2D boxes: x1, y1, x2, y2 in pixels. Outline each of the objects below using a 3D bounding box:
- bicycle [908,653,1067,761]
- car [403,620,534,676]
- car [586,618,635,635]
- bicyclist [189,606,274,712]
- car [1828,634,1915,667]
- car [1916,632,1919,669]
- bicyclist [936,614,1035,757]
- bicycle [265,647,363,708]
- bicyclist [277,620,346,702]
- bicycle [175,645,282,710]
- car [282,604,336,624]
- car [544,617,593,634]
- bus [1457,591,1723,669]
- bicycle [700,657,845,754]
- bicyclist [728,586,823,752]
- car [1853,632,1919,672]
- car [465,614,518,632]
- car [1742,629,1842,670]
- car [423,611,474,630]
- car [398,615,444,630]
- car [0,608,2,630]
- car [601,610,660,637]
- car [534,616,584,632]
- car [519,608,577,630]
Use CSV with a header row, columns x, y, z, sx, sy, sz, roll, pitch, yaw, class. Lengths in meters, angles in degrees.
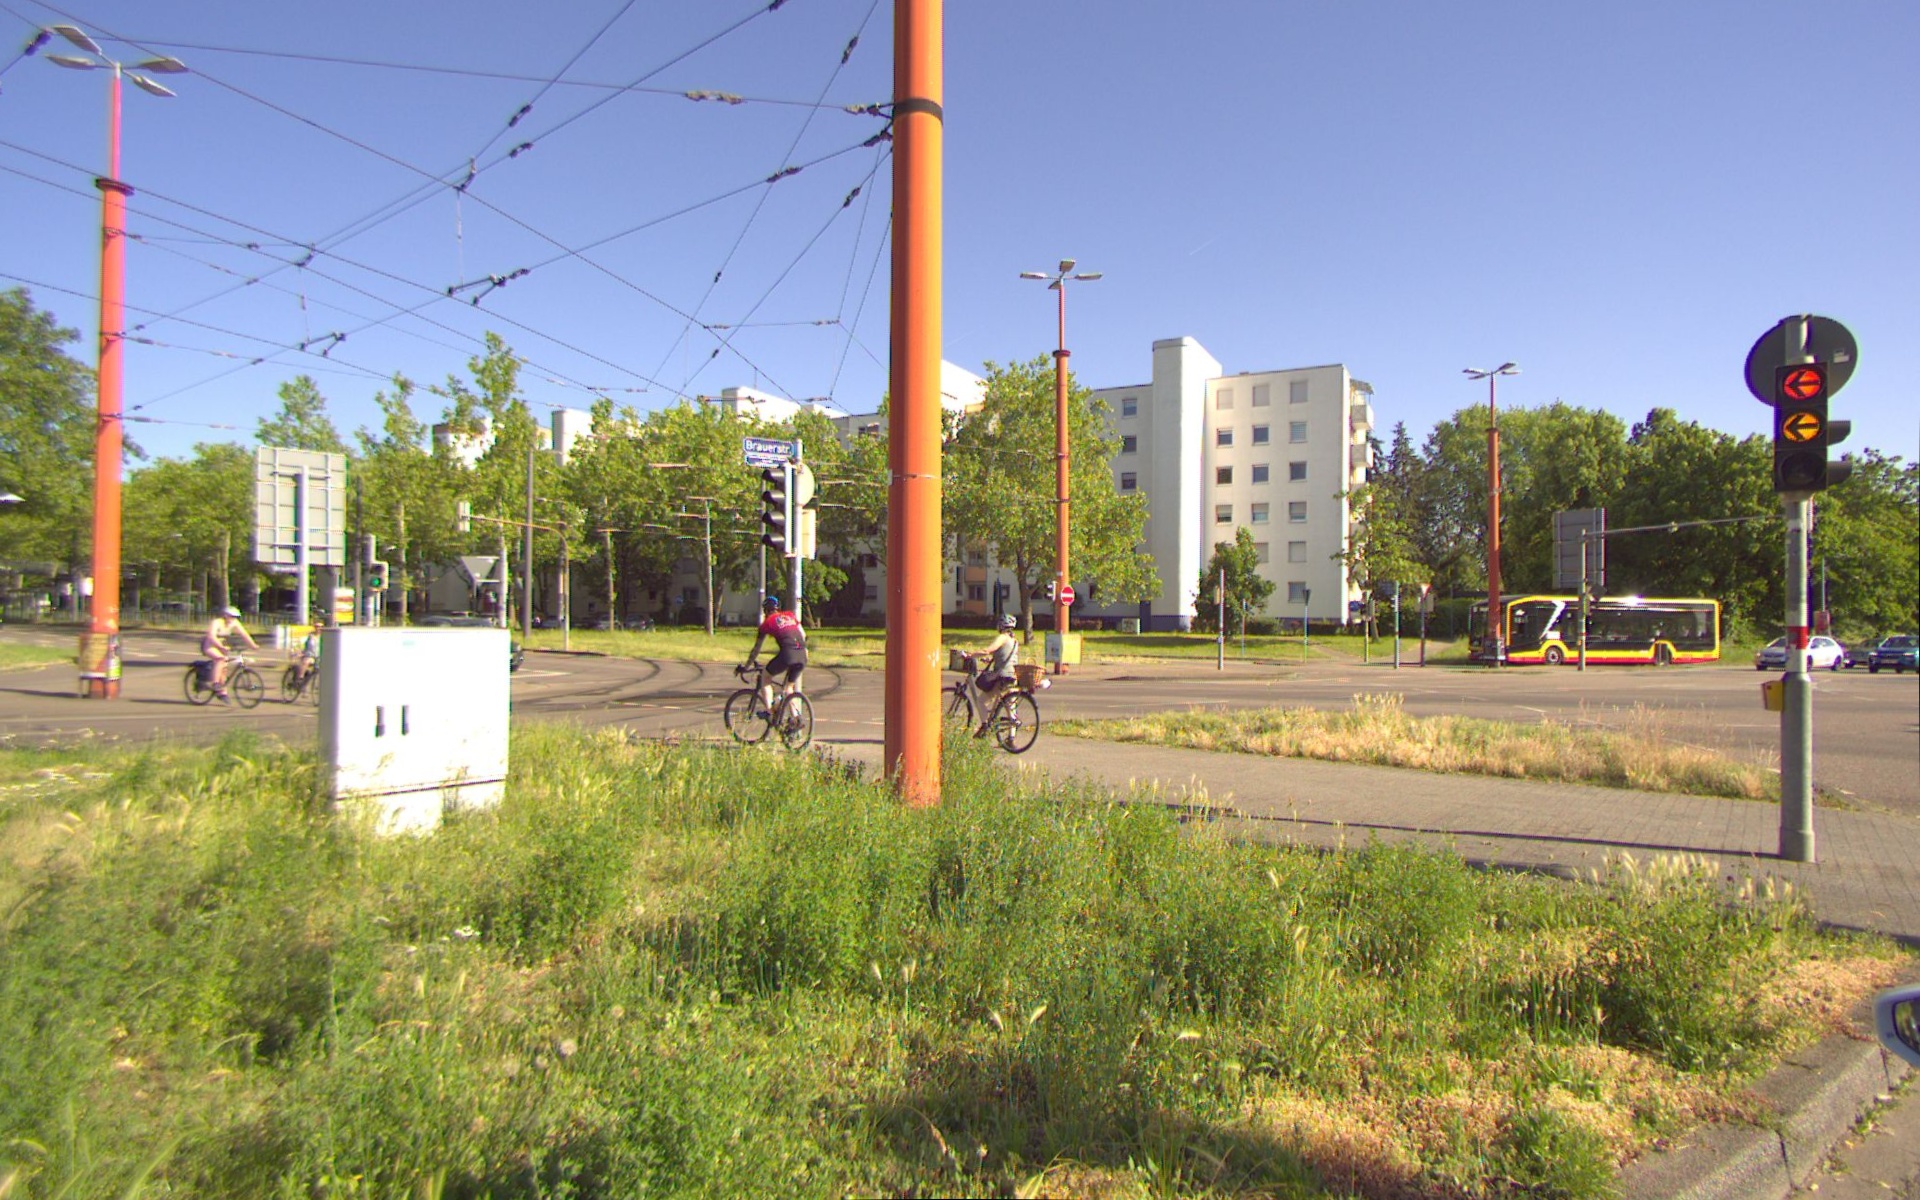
x,y,z,sx,sy,sz,roll,pitch,yaw,class
0.312,1.248,12.183,1.887,1.146,0.737,0,-1,41,bicycle
-15.226,1.435,31.095,3.977,1.516,1.913,2,0,34,car
-25.838,1.986,74.309,3.279,1.149,1.321,2,0,-11,car
-13.602,1.077,18.772,0.905,1.892,0.893,2,0,17,bicyclist
43.131,2.373,47.529,3.952,1.533,1.877,1,-2,-29,car
42.603,2.168,42.713,3.955,1.575,1.891,2,-2,-32,car
0.311,0.998,12.225,0.815,1.643,0.888,0,-1,41,bicyclist
-12.861,1.530,19.994,1.878,1.086,0.580,2,0,19,bicycle
-12.899,1.196,20.001,0.906,1.545,0.720,2,0,20,bicyclist
-13.645,1.433,18.730,1.877,1.086,0.580,2,0,17,bicycle
-66.309,1.450,102.352,4.274,2.010,1.932,1,-1,-19,car
-29.335,1.880,75.336,3.219,1.172,1.357,2,0,-12,car
29.904,1.429,47.695,12.318,3.304,2.648,2,0,-12,bus
-2.335,1.259,12.371,1.886,1.085,0.689,-2,-2,38,bicycle
-2.266,0.827,12.337,0.976,1.938,0.684,-2,-2,37,bicyclist
37.292,2.038,39.763,3.813,1.535,1.793,1,-3,-30,car
-38.847,1.907,83.384,3.665,1.349,1.496,2,0,-8,car
35.362,2.109,42.684,4.168,1.673,1.869,2,-3,-29,car
-43.266,1.750,85.095,3.592,1.480,1.608,2,0,-19,car
-46.633,1.913,86.950,3.370,1.204,1.439,2,0,-23,car
-66.495,1.255,68.092,3.941,1.516,1.909,0,-1,41,car
-23.673,1.693,72.293,3.874,1.841,1.651,2,0,-13,car
-30.903,1.846,77.433,3.346,1.162,1.305,2,0,-13,car
-32.555,1.496,79.429,3.868,1.614,1.656,2,0,-8,car
